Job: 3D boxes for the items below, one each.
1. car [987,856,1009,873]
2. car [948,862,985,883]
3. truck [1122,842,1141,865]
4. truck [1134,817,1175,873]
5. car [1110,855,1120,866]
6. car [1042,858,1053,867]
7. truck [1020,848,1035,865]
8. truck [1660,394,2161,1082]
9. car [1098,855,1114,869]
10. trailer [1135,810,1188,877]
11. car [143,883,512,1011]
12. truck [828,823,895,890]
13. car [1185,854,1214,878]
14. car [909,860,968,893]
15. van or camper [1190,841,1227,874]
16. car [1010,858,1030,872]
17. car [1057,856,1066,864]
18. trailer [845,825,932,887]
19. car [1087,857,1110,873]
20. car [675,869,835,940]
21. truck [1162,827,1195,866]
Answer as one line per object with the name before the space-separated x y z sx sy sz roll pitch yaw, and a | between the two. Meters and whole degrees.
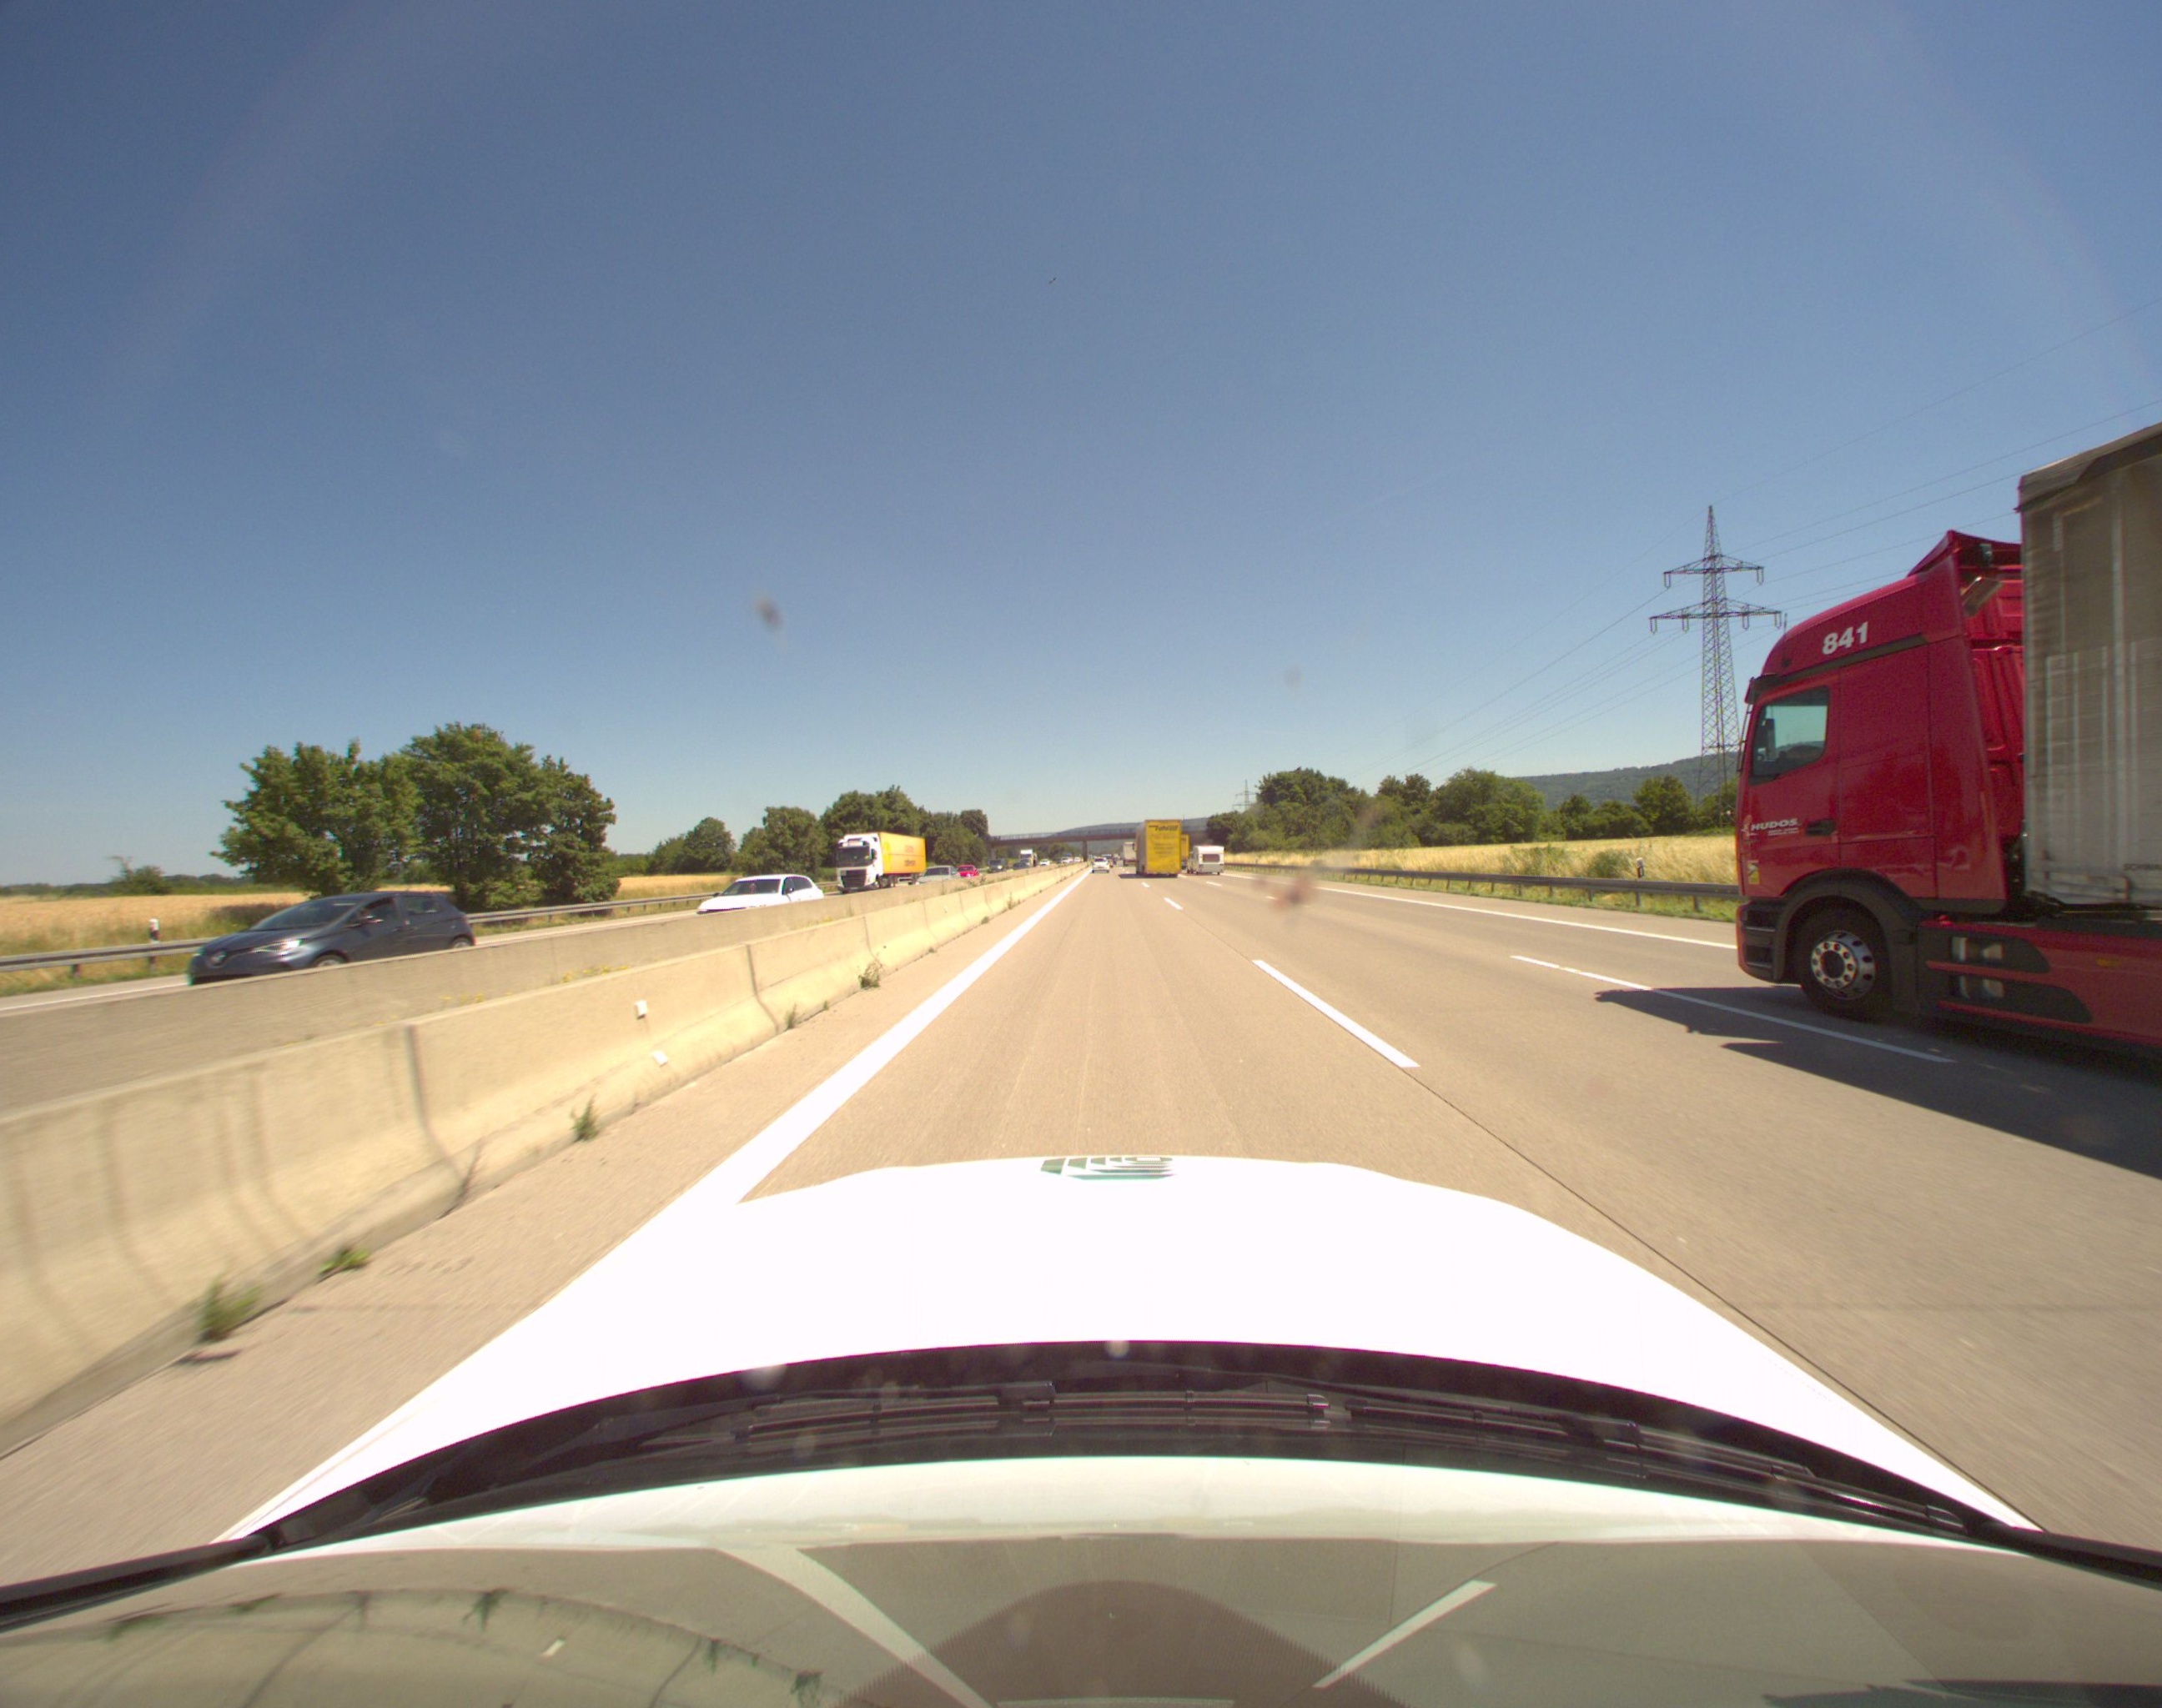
car | -10.053 1.228 98.520 1.924 2.000 5.519 0 0 1
car | -8.924 1.419 63.826 1.986 1.394 4.718 -3 0 1
truck | 8.199 -0.074 133.182 2.809 3.761 6.286 0 0 1
truck | 6.187 -0.757 69.590 3.204 4.563 5.838 0 0 2
car | 6.725 1.286 162.553 1.986 2.013 4.001 0 0 1
car | -7.135 1.773 173.215 1.916 1.611 4.687 -3 0 1
truck | -11.492 0.590 175.028 2.592 3.589 4.721 0 0 1
truck | 7.920 -0.698 6.022 2.895 4.100 6.273 0 0 1
car | 3.679 1.110 118.226 2.245 2.013 4.300 0 0 2
trailer | 5.960 -0.752 62.615 3.203 4.563 13.463 0 0 2
car | -12.512 1.431 14.074 1.986 1.560 4.514 -4 0 1
truck | -14.930 0.174 55.815 2.858 4.195 5.231 -3 0 1
car | 10.220 1.031 70.293 1.986 2.013 4.001 0 0 1
car | -7.268 1.097 41.954 1.986 1.485 4.712 -3 0 2
van or camper | 10.192 0.274 65.568 2.216 2.531 5.432 0 0 1
car | -6.229 1.127 83.559 1.684 1.331 4.001 0 0 1
car | -5.186 1.599 218.761 1.986 2.138 5.884 -4 0 2
trailer | -14.725 0.180 63.820 2.862 4.198 14.145 -3 0 2
car | 1.785 1.066 80.749 2.098 1.536 4.125 0 0 3
car | -8.041 1.182 20.643 1.986 1.364 4.672 -4 0 1
truck | 11.321 -0.807 95.723 2.987 4.314 9.688 0 0 2
